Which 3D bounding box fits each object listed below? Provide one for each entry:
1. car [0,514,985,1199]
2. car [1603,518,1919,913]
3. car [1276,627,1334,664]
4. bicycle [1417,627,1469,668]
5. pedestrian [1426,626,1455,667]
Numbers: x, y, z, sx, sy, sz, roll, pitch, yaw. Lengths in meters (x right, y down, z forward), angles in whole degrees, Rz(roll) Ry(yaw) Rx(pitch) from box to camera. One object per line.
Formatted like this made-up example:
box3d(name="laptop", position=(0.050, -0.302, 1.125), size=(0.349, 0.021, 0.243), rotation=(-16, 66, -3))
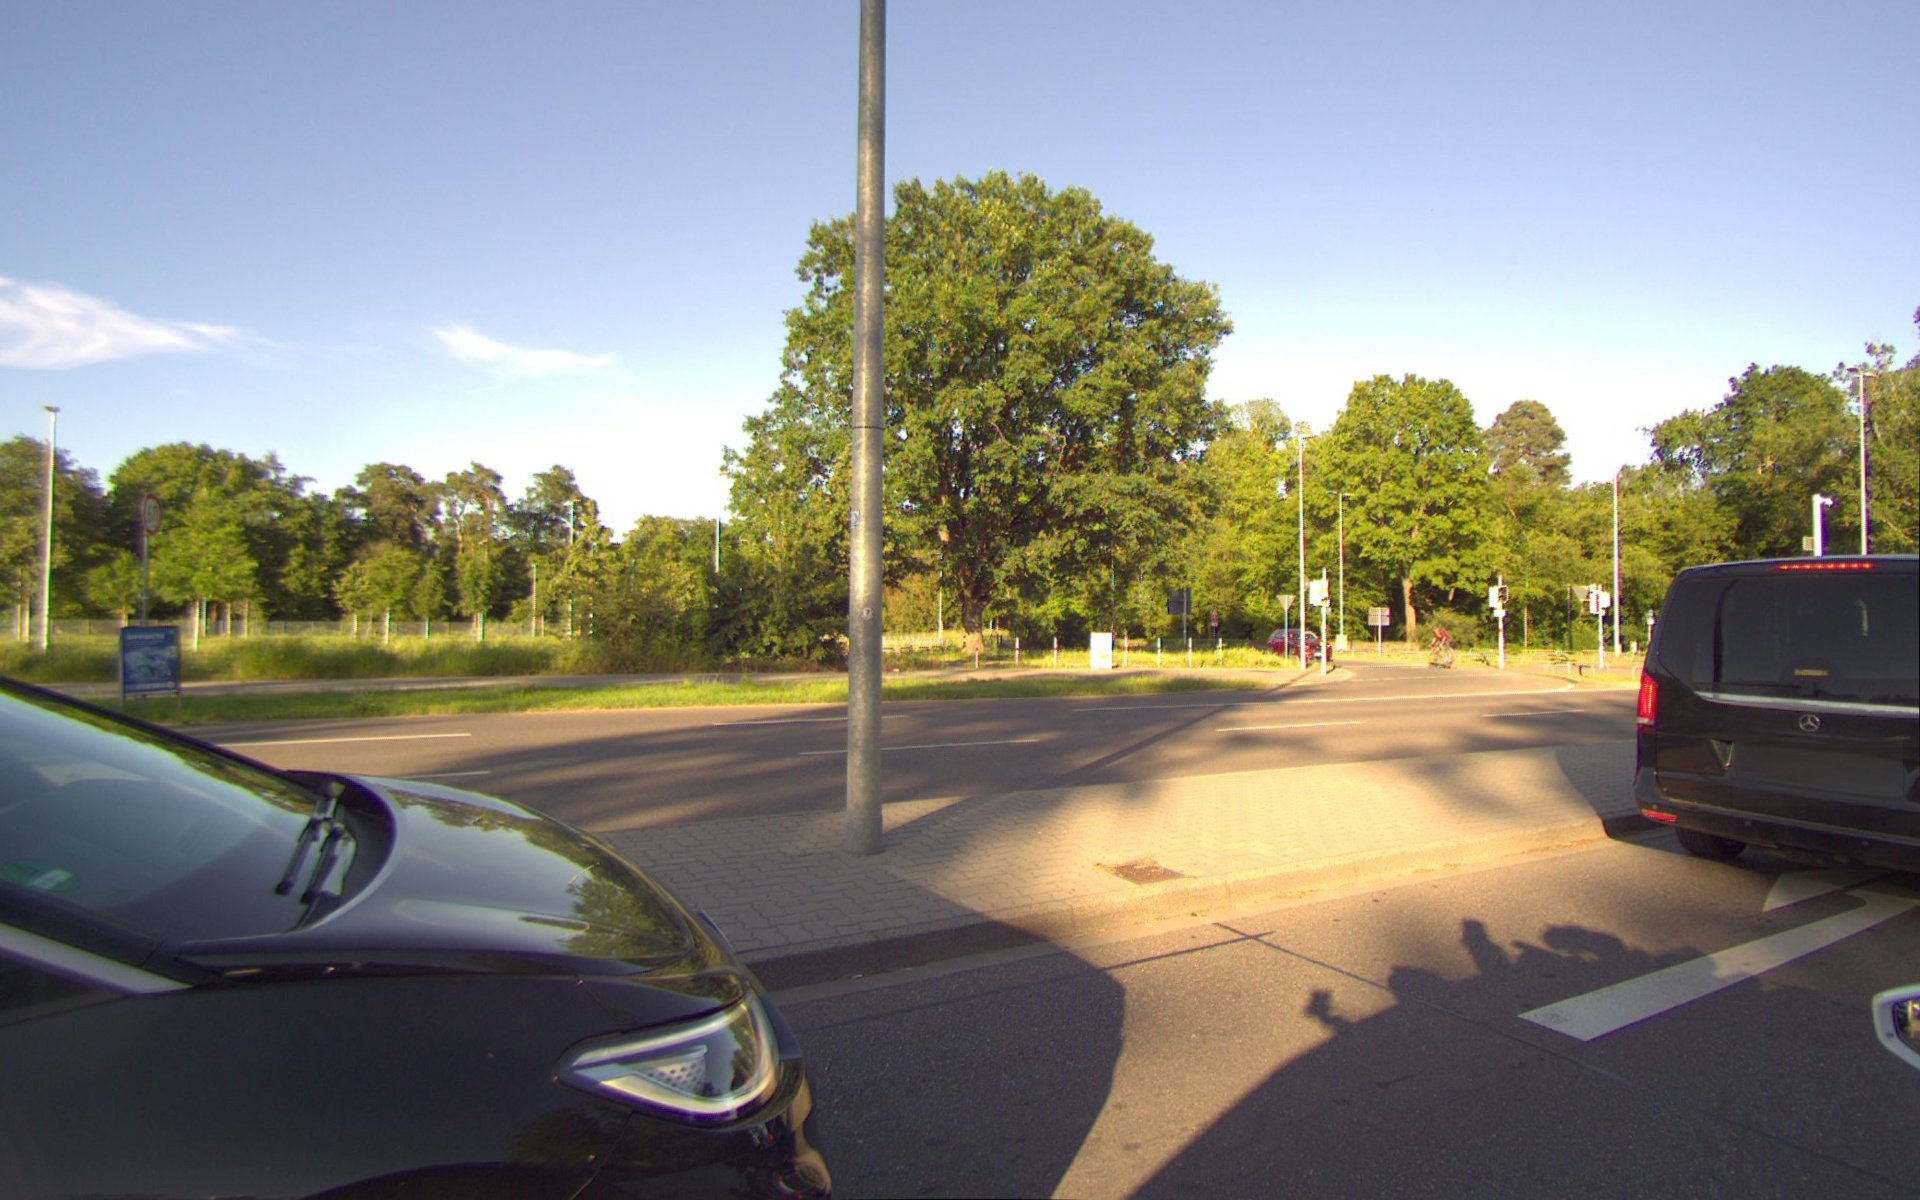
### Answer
box3d(name="car", position=(-2.141, 0.664, 1.256), size=(3.955, 1.557, 1.868), rotation=(2, 0, -31))
box3d(name="car", position=(6.413, 0.610, 6.433), size=(4.817, 1.881, 1.898), rotation=(2, 0, -31))
box3d(name="car", position=(17.272, 2.266, 50.465), size=(1.959, 1.639, 4.002), rotation=(2, 0, 7))
box3d(name="bicycle", position=(18.836, 1.854, 39.134), size=(1.996, 1.571, 0.748), rotation=(2, 0, -27))
box3d(name="pedestrian", position=(18.690, 1.805, 39.052), size=(0.664, 1.564, 0.737), rotation=(2, 0, -27))
